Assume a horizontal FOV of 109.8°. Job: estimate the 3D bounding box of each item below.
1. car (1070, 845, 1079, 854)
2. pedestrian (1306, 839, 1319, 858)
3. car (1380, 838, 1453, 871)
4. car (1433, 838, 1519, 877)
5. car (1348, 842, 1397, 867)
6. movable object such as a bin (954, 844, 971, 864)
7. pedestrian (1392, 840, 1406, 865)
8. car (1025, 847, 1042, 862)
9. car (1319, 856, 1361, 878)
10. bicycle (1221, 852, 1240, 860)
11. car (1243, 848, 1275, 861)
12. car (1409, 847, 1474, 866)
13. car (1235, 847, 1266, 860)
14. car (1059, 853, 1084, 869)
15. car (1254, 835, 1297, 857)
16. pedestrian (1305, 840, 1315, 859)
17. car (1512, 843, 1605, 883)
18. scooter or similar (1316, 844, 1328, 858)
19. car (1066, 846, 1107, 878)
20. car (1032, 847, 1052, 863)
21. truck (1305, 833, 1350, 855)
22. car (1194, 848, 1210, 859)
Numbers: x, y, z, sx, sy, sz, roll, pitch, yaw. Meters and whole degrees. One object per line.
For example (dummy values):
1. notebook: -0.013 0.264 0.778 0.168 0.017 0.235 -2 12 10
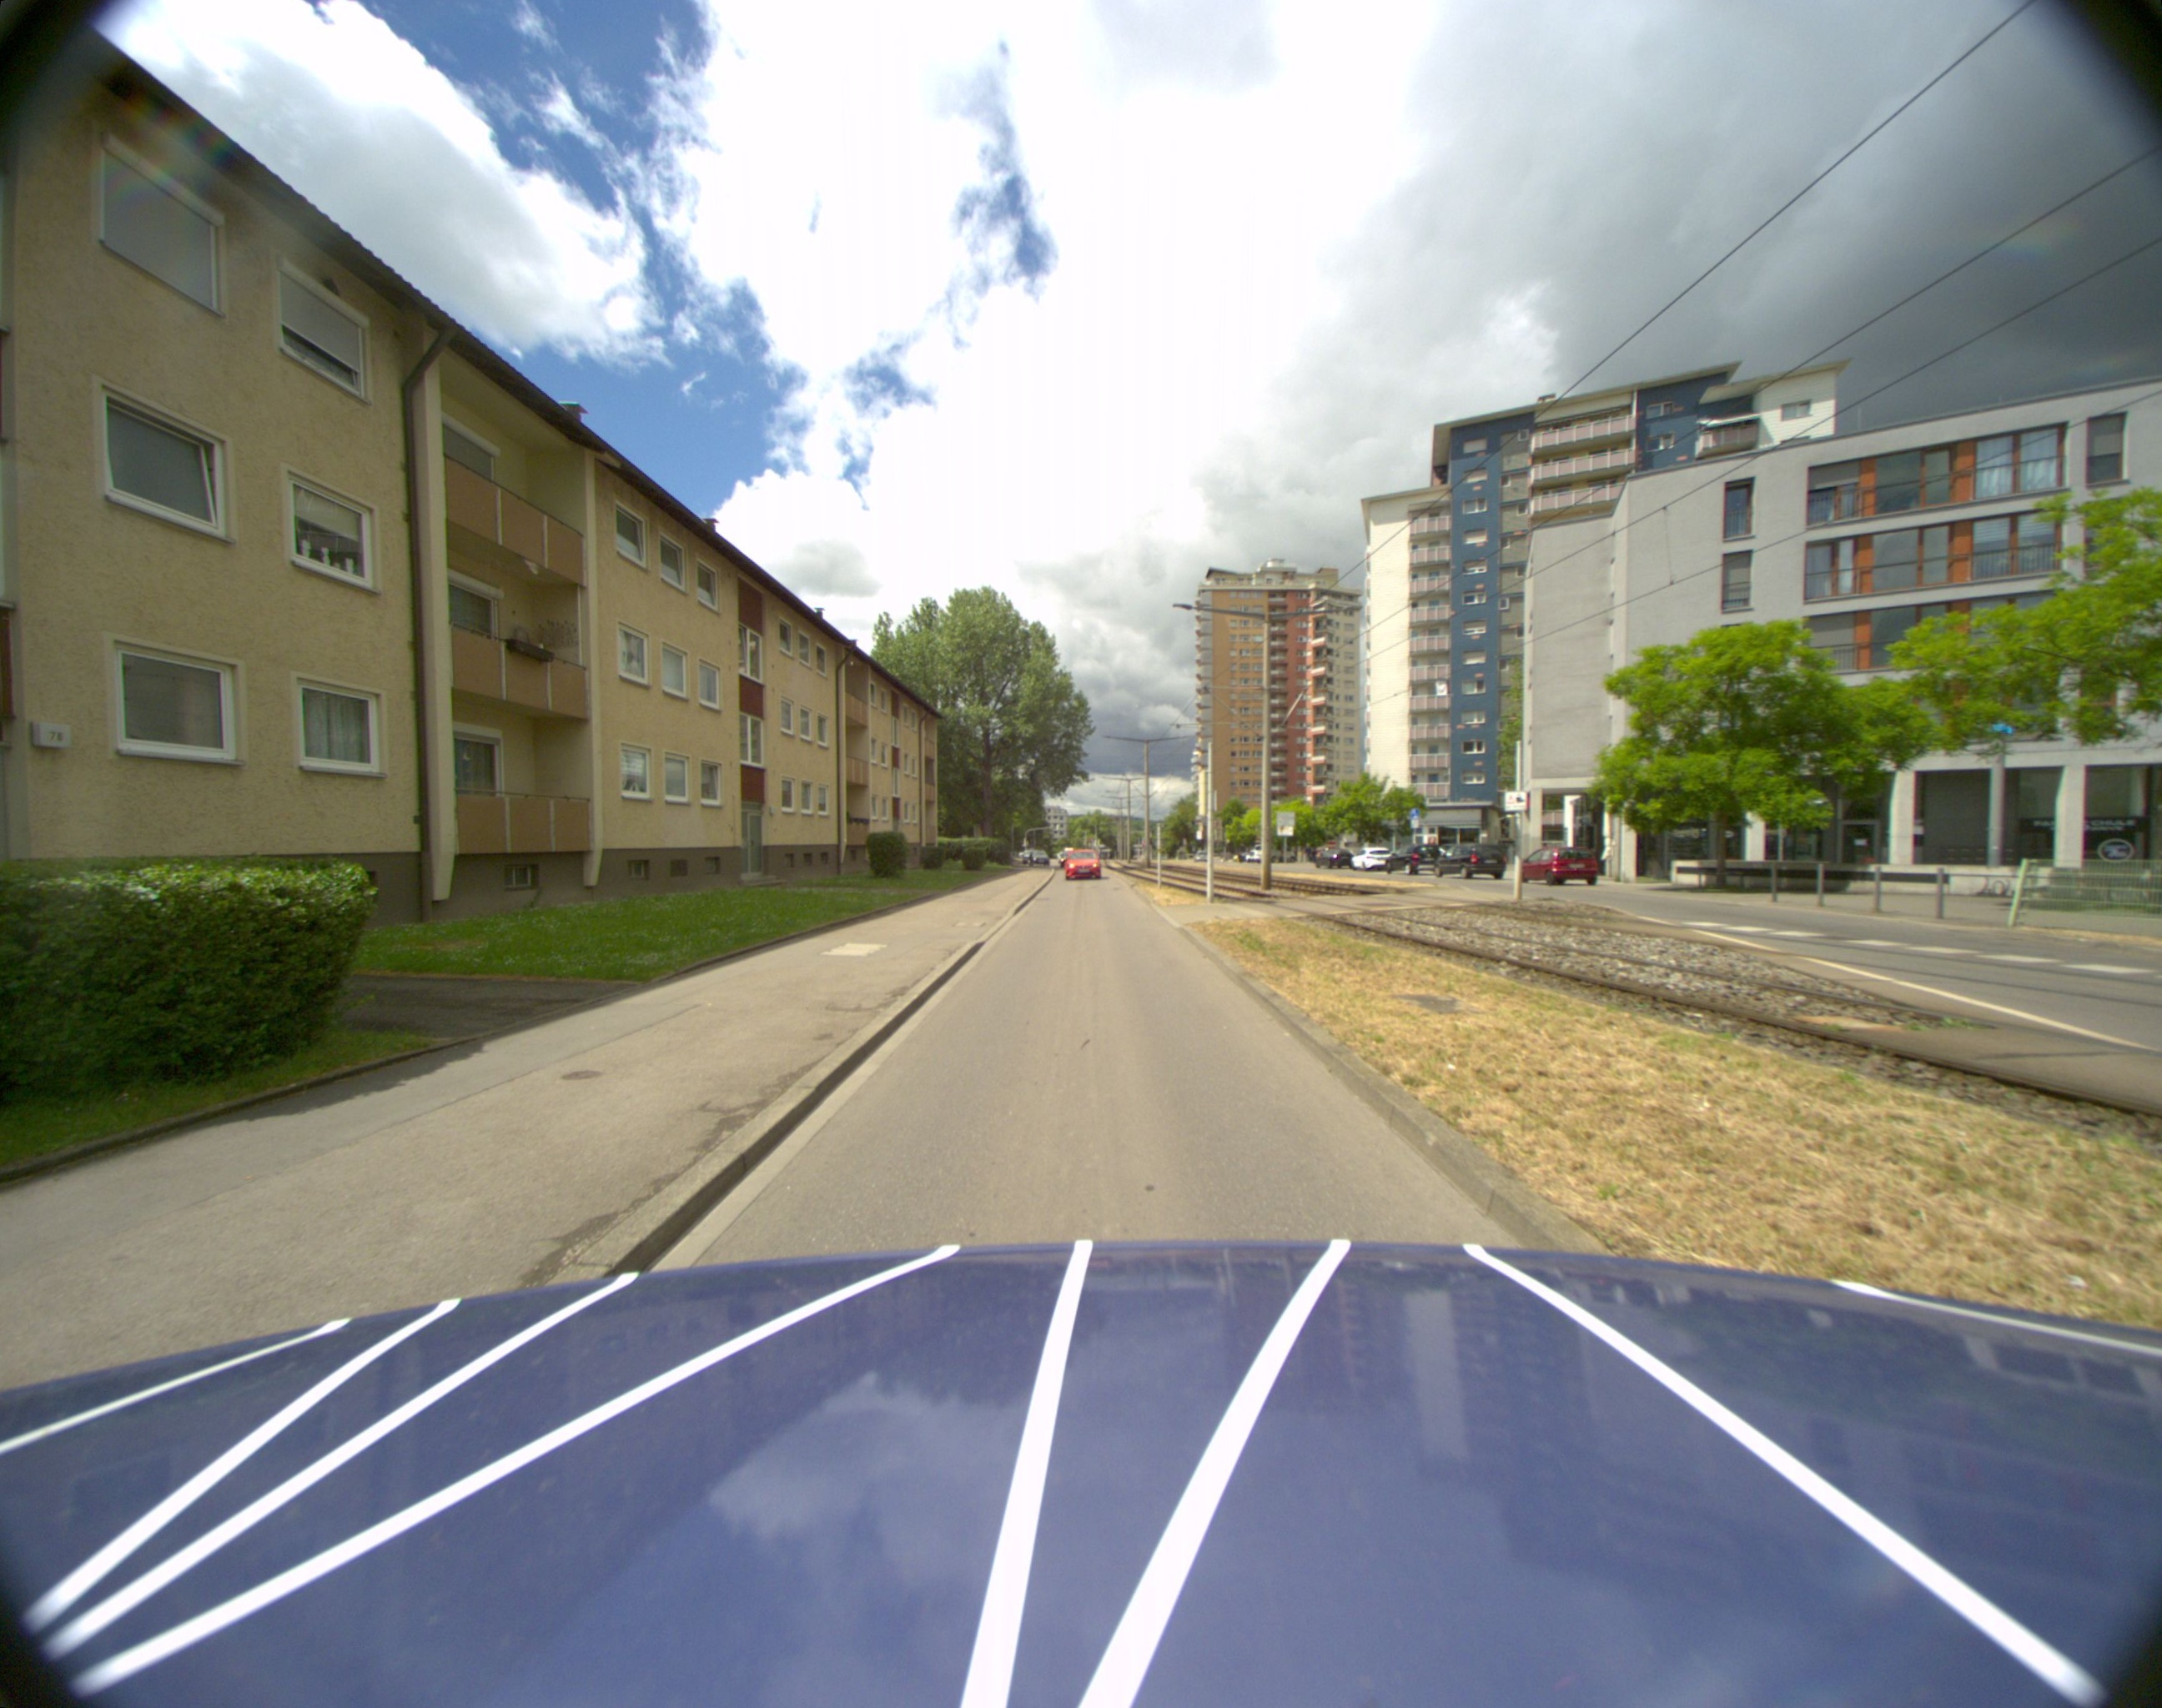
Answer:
1. car: -1.432 -1.002 168.016 1.998 2.002 4.000 1 0 0
2. pedestrian: 20.113 -0.463 65.974 0.516 1.562 0.983 3 -3 -38
3. car: 18.125 0.023 41.241 1.999 1.653 4.099 -1 0 -2
4. car: 18.109 0.155 35.062 1.998 1.638 4.101 1 0 3
5. car: 18.235 0.052 47.774 1.758 1.466 4.402 1 0 5
6. movable object such as a bin: -8.658 -0.016 55.566 1.101 1.430 0.761 1 0 -2
7. pedestrian: 22.742 -0.131 54.325 0.613 1.782 0.843 1 0 -1
8. car: -5.489 0.062 86.563 1.789 1.556 4.567 1 0 -5
9. car: 18.608 0.903 54.759 1.738 1.420 4.381 1 0 3
10. bicycle: 20.417 0.274 103.489 2.433 1.060 0.705 1 0 1
11. car: 21.127 0.098 90.166 3.774 1.487 1.742 1 0 -40
12. car: 28.414 0.166 59.986 4.343 1.434 2.004 1 0 36
13. car: 21.115 -0.048 94.405 1.927 1.582 4.009 1 0 43
14. car: -0.756 0.559 63.900 1.999 1.280 4.000 1 0 0
15. car: 20.136 -0.829 78.610 4.772 2.144 1.901 1 0 -41
16. pedestrian: 21.558 -0.445 71.422 0.842 1.782 0.875 1 0 15
17. car: 17.877 0.329 28.597 1.616 1.418 3.425 1 0 6
18. scooter or similar: 20.694 -0.280 65.291 0.582 1.117 0.767 4 -4 -39
19. car: 0.234 0.356 37.530 1.819 1.483 3.998 -1 1 -2
20. car: -3.772 0.086 72.234 1.820 1.440 3.825 1 0 -4
21. truck: 42.622 -1.787 131.668 7.090 3.653 2.548 1 0 7
22. car: 16.829 -0.016 105.664 1.822 1.524 3.756 1 0 4
